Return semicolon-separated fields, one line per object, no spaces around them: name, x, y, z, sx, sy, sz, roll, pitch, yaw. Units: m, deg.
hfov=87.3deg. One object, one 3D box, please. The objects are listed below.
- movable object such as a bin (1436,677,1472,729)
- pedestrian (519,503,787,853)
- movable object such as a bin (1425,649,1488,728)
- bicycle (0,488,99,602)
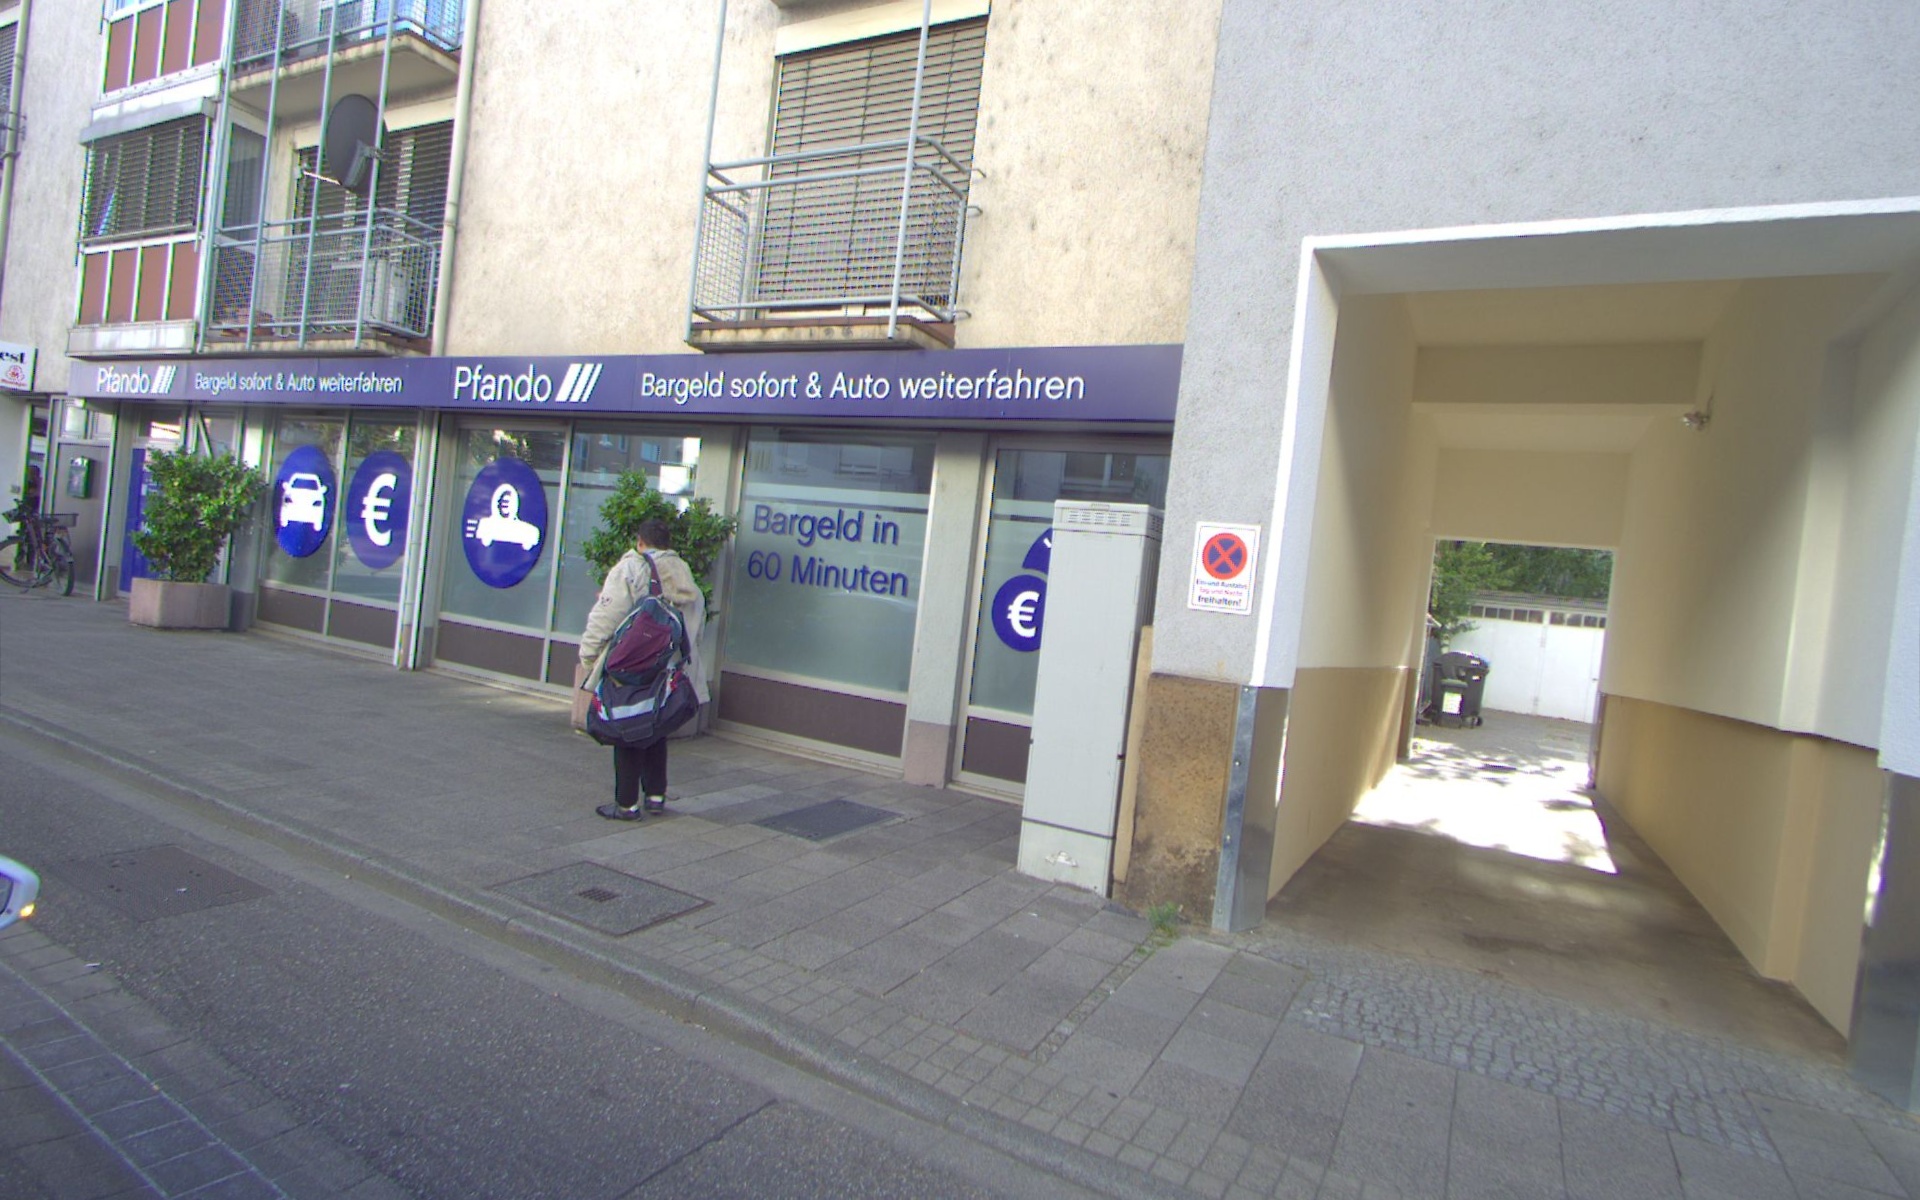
movable object such as a bin;9.558;1.977;19.456;0.518;0.922;0.580;7;1;29
pedestrian;-1.591;0.362;5.273;0.853;1.593;0.874;8;3;29
movable object such as a bin;10.110;1.784;20.459;0.945;1.426;1.598;7;1;29
bicycle;-11.846;-0.730;12.880;1.879;1.280;0.640;7;1;32
